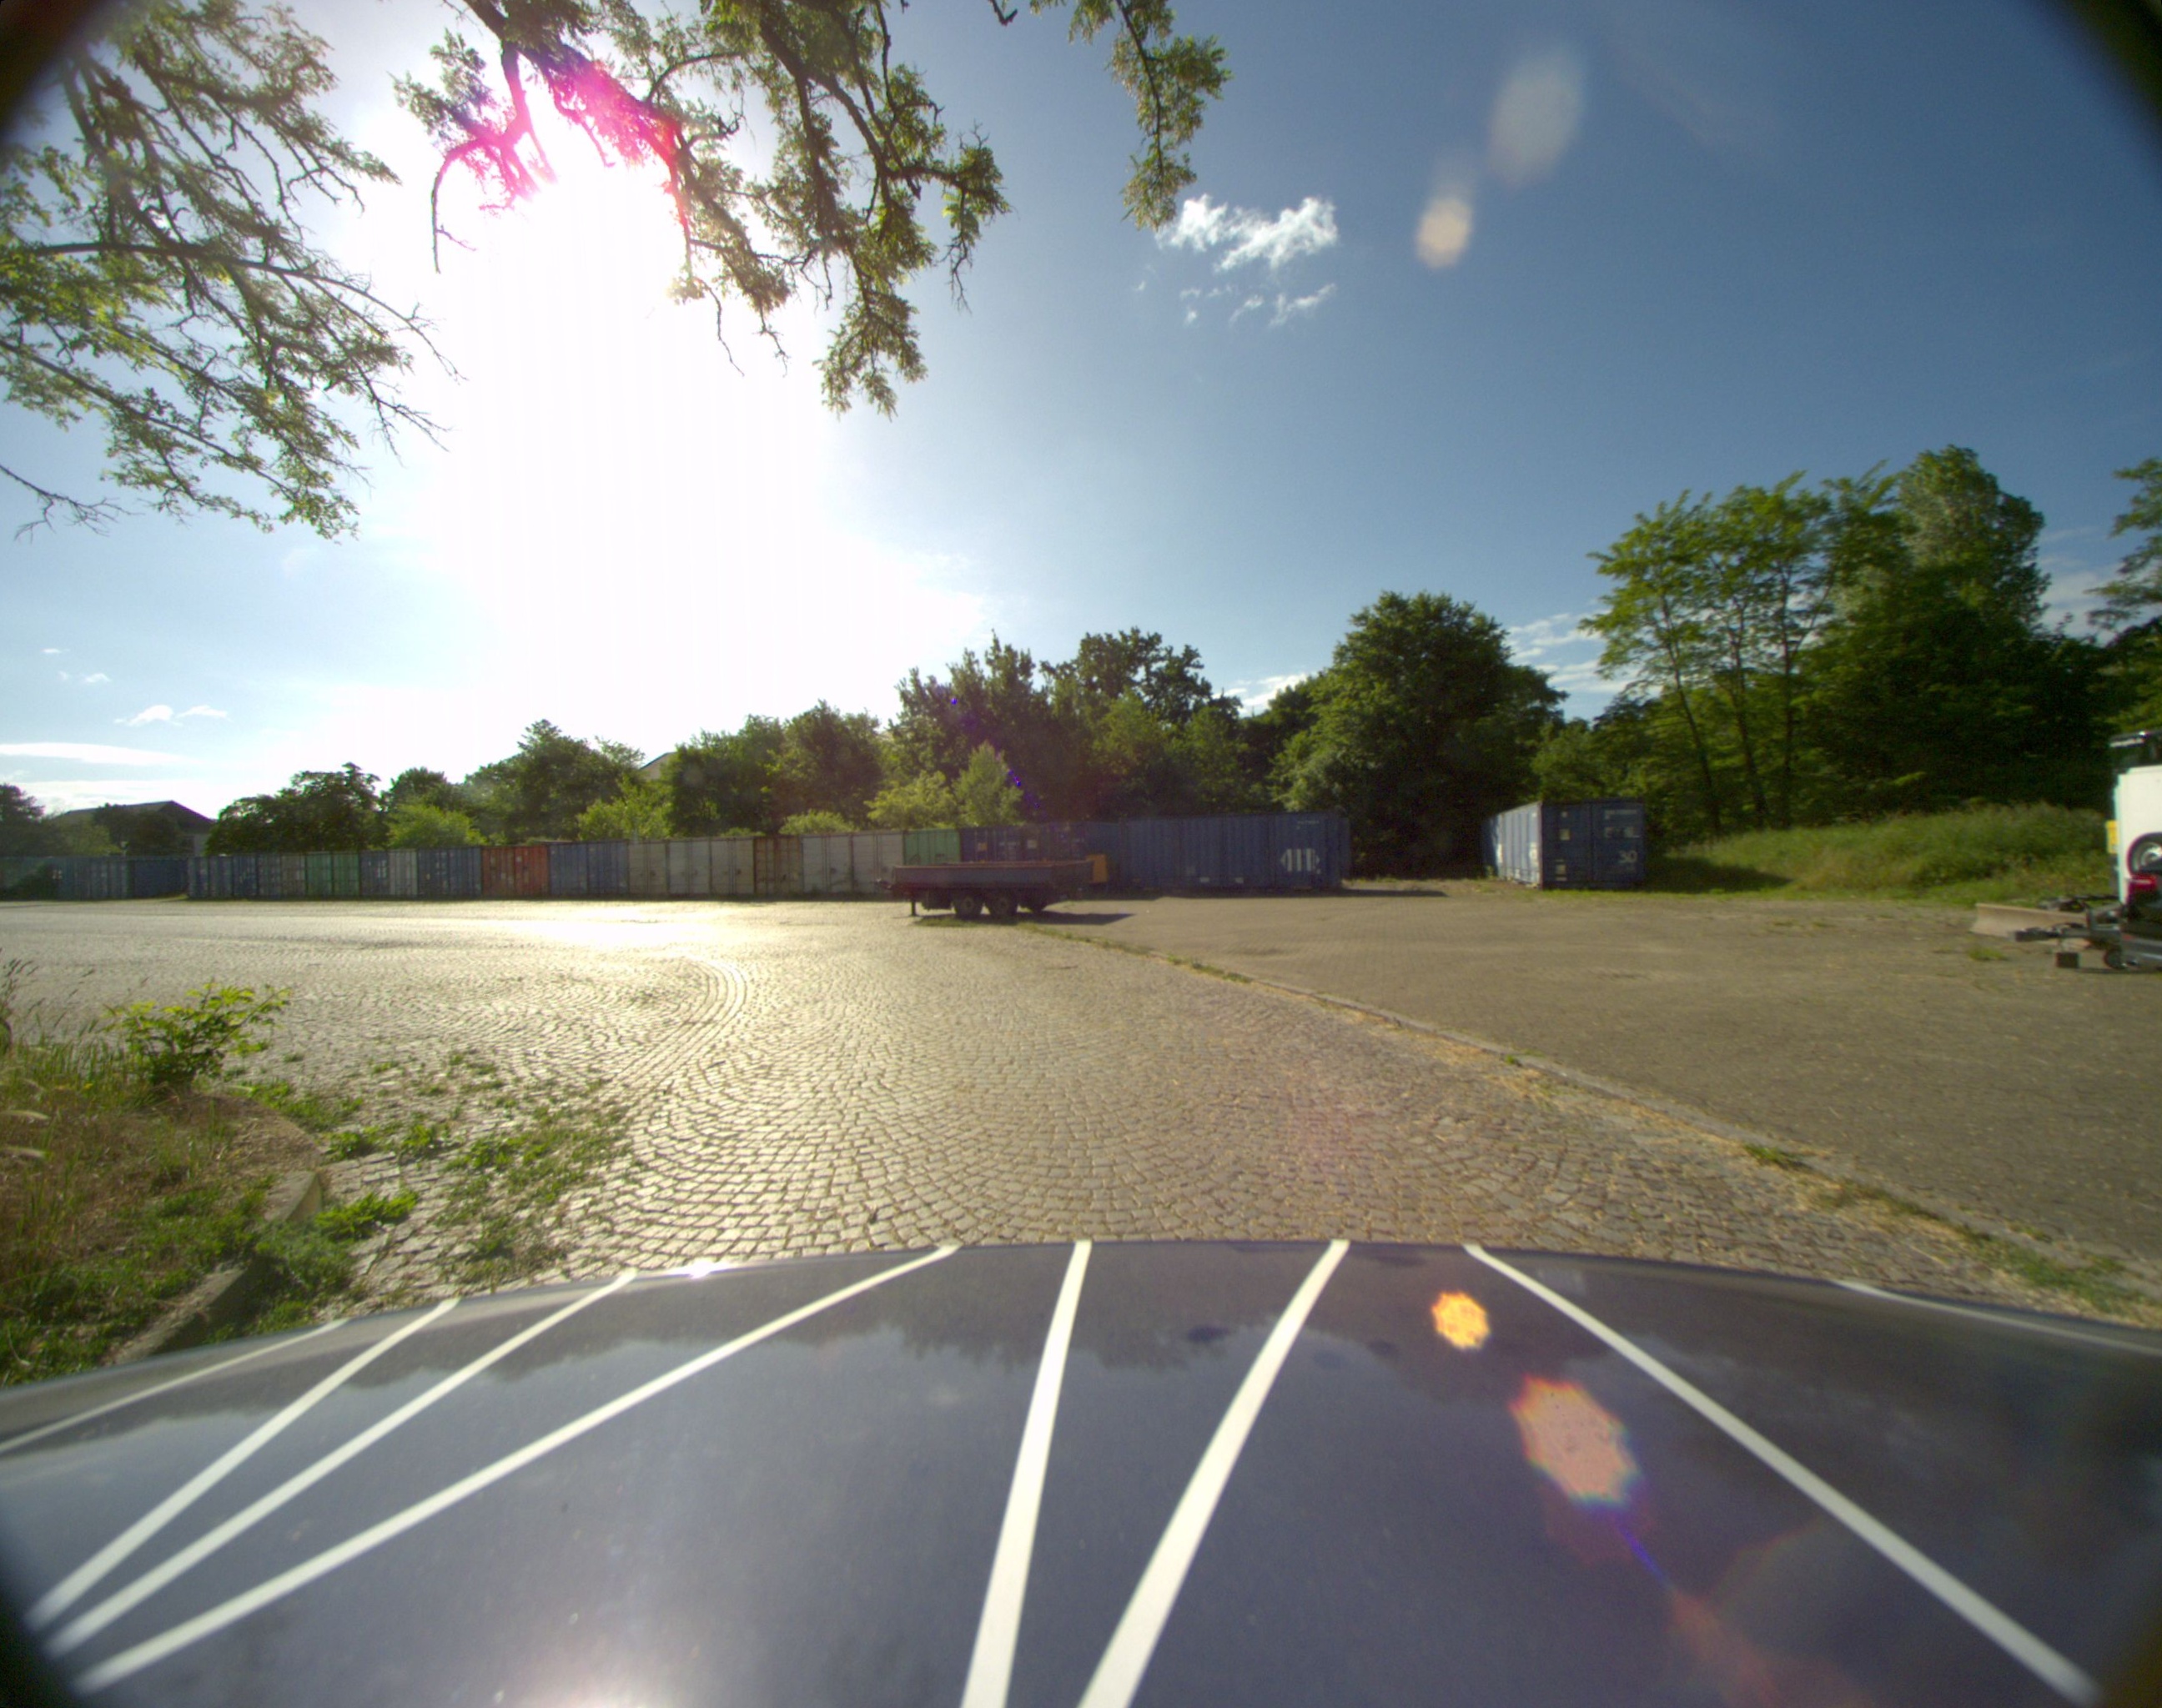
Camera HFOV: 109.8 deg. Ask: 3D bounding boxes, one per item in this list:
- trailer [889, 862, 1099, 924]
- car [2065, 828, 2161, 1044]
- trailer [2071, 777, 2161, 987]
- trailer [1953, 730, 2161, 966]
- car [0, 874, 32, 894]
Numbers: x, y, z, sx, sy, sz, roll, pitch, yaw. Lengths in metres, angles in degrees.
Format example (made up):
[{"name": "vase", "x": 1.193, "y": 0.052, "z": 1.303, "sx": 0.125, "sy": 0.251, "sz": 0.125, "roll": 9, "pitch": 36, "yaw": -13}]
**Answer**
[{"name": "trailer", "x": -2.282, "y": 0.977, "z": 20.309, "sx": 4.850, "sy": 1.406, "sz": 2.653, "roll": -1, "pitch": 1, "yaw": 22}, {"name": "car", "x": 9.790, "y": 0.544, "z": 4.672, "sx": 4.122, "sy": 1.580, "sz": 1.973, "roll": -2, "pitch": 1, "yaw": 22}, {"name": "trailer", "x": 11.832, "y": 0.221, "z": 6.941, "sx": 2.843, "sy": 2.039, "sz": 1.827, "roll": -2, "pitch": 1, "yaw": 24}, {"name": "trailer", "x": 12.945, "y": -0.159, "z": 8.845, "sx": 2.844, "sy": 2.523, "sz": 2.269, "roll": -5, "pitch": 0, "yaw": 24}, {"name": "car", "x": -76.140, "y": 2.173, "z": 52.336, "sx": 1.995, "sy": 1.289, "sz": 4.120, "roll": -1, "pitch": 2, "yaw": 20}]
